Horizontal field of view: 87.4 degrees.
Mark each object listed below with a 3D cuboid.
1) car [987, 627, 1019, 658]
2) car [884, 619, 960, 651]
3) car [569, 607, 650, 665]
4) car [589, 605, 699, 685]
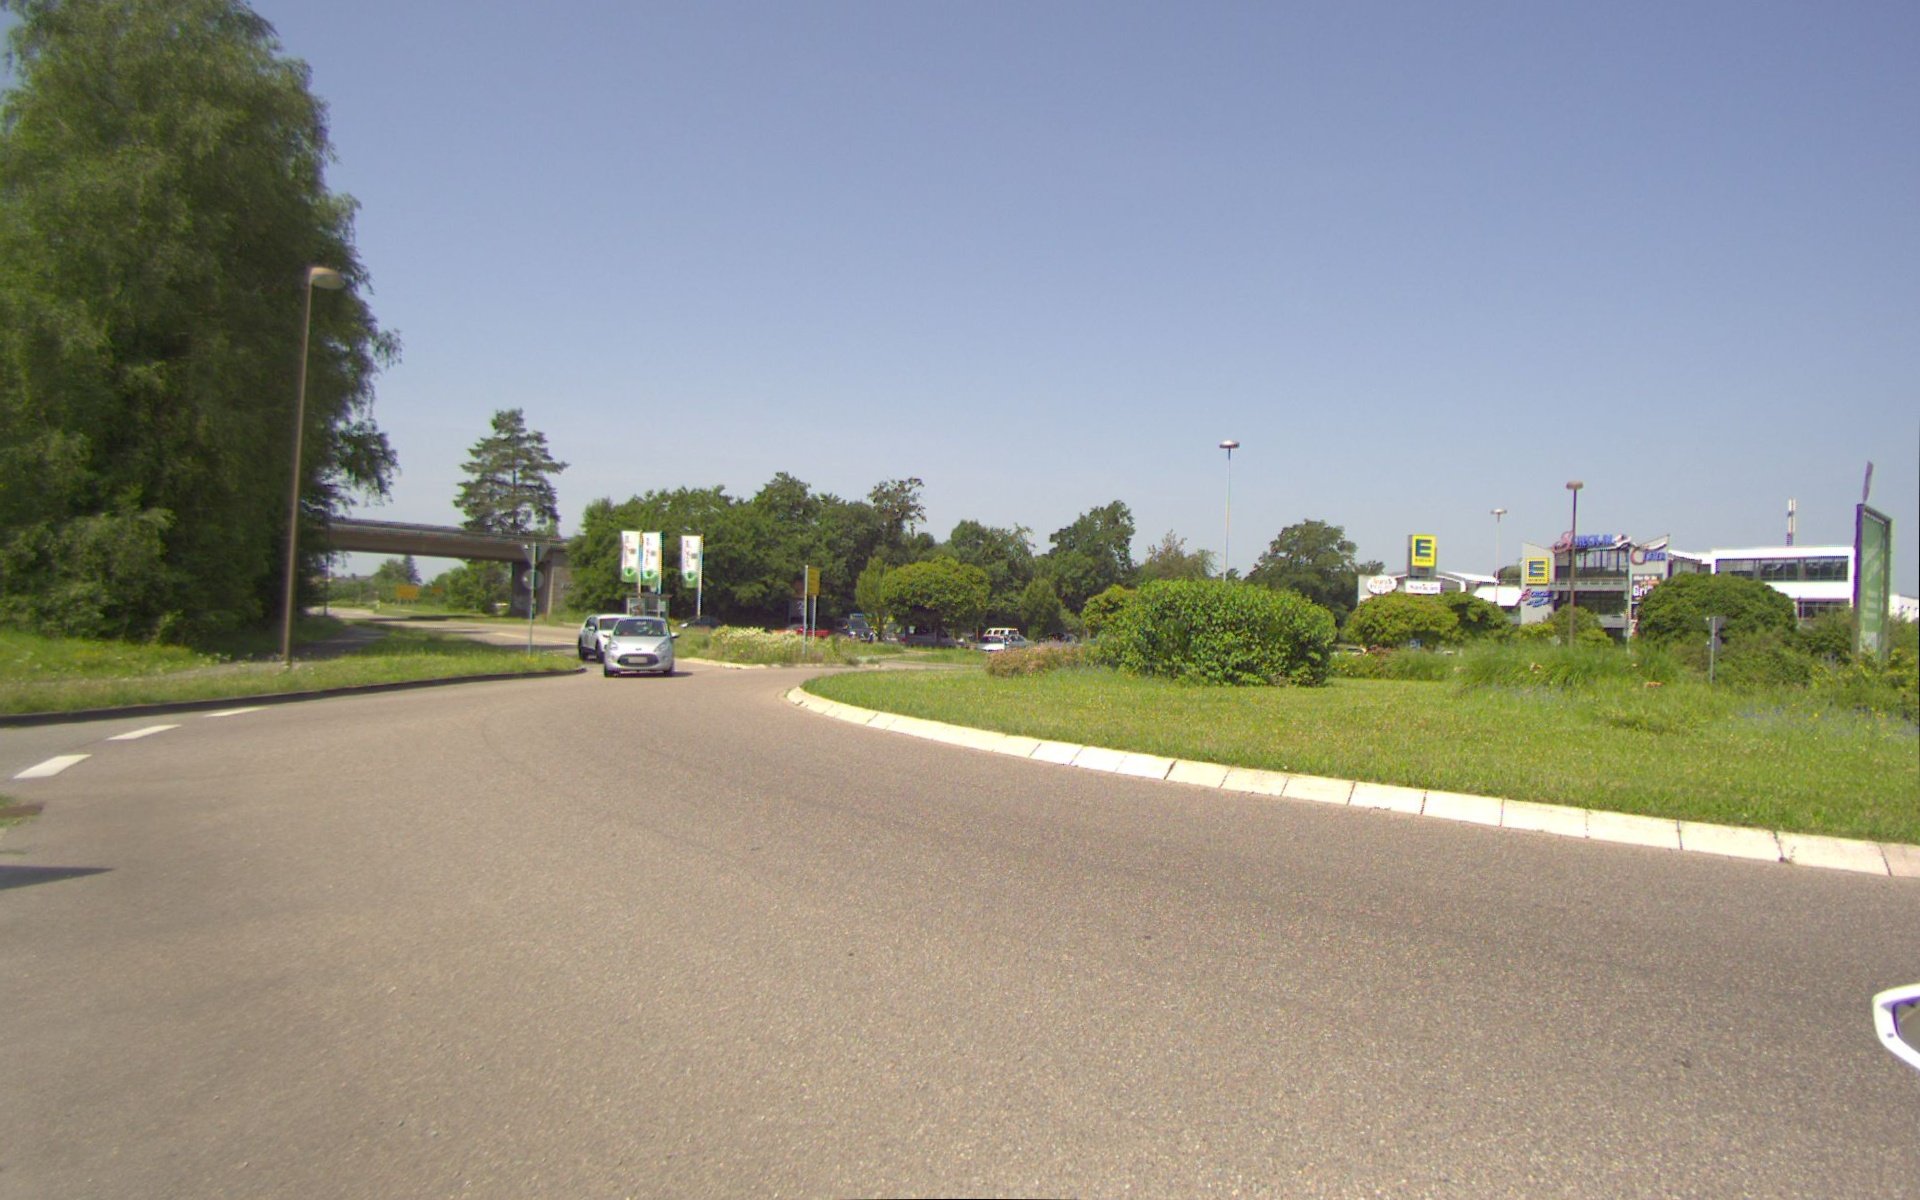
[{"bbox_3d":[2.373,2.326,56.162,1.554,1.517,4.566,4,-1,1],"label":"car"},{"bbox_3d":[-2.200,2.076,59.038,1.850,1.582,4.381,3,-1,44],"label":"car"},{"bbox_3d":[-12.496,1.208,35.615,2.168,1.674,5.089,4,0,-25],"label":"car"},{"bbox_3d":[-7.946,1.073,25.642,2.091,1.637,4.190,3,1,-10],"label":"car"}]
